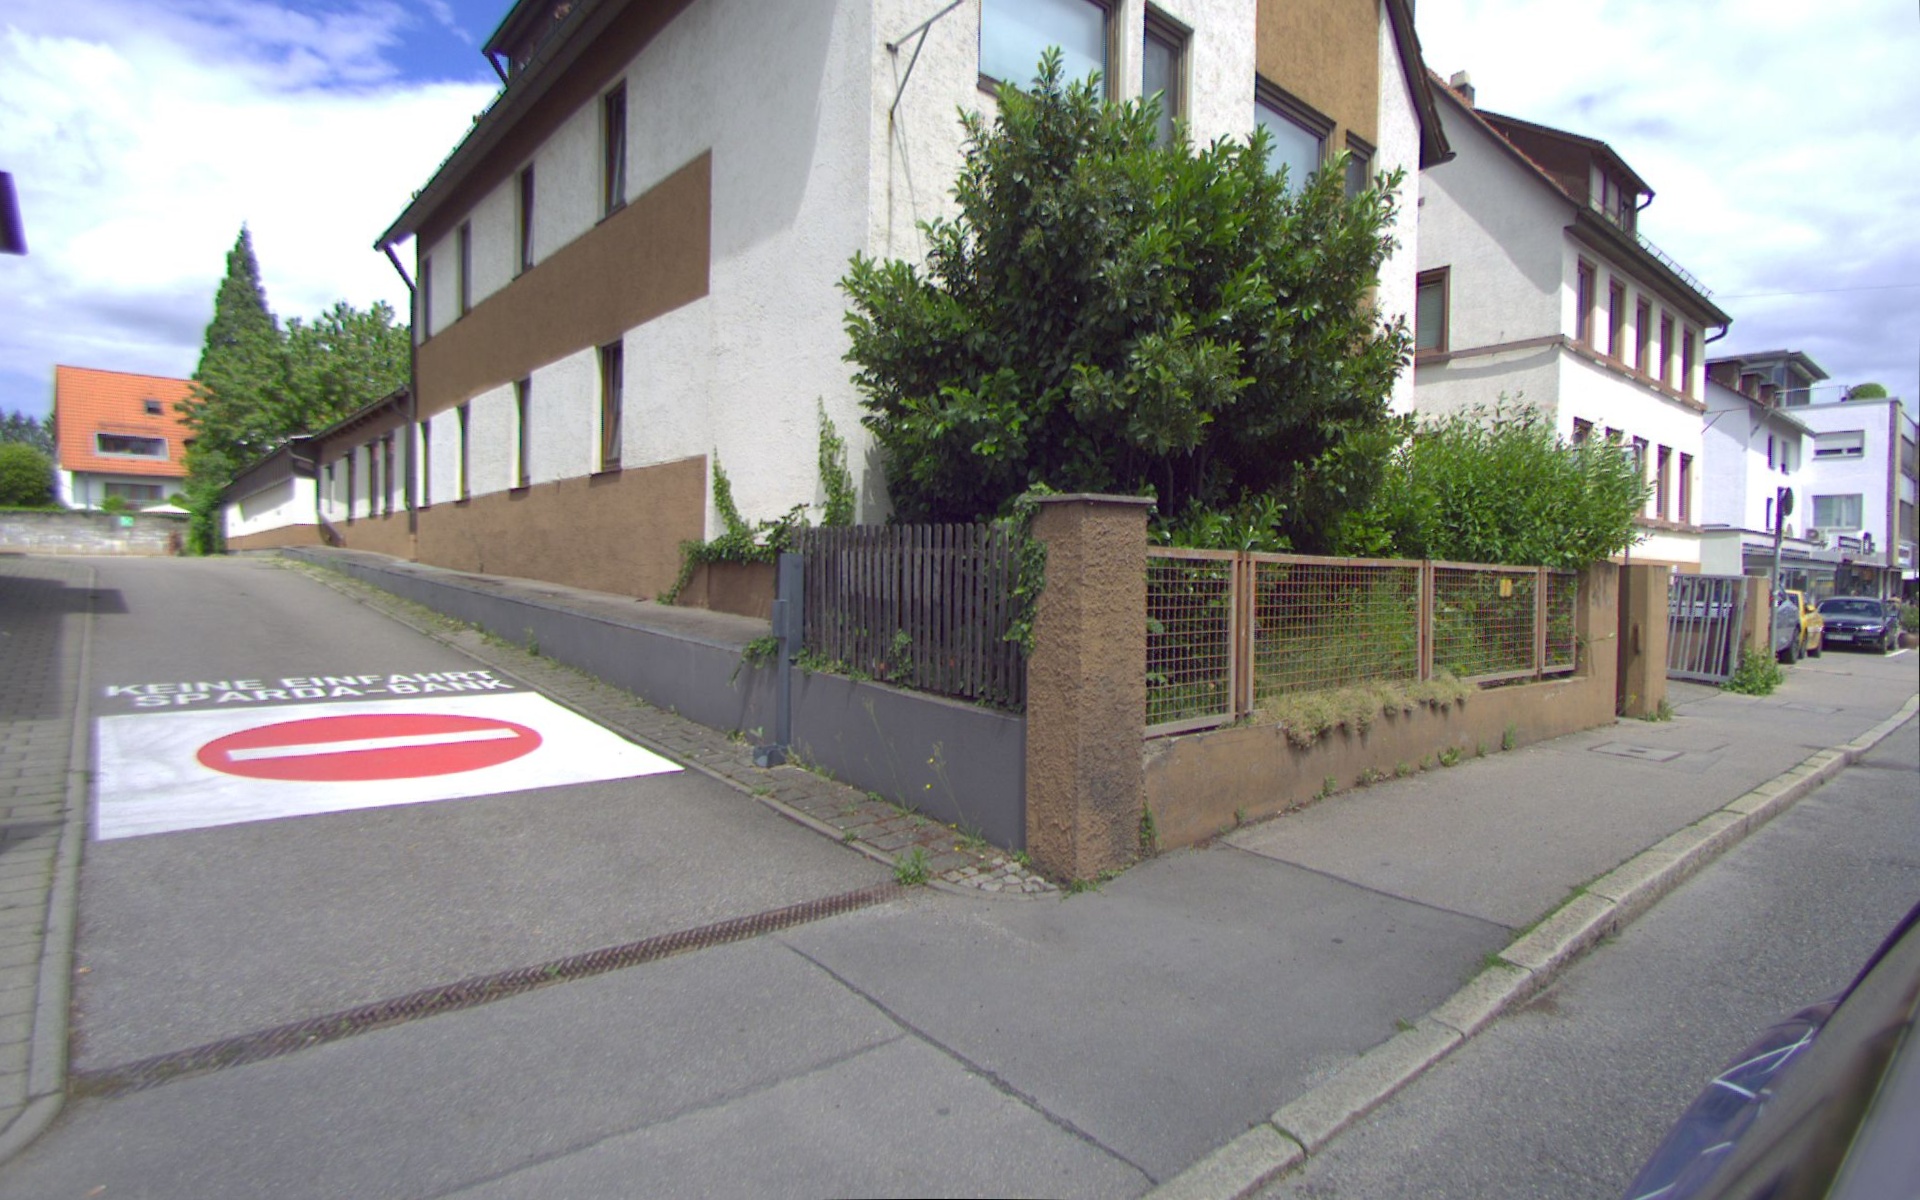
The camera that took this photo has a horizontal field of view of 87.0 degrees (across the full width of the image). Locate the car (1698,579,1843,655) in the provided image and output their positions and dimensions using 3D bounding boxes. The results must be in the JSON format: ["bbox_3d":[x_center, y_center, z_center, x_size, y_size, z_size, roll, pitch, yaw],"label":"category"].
[{"bbox_3d":[17.433,0.299,21.705,3.934,1.429,1.922,0,2,-44],"label":"car"}]

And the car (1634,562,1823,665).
[{"bbox_3d":[14.031,0.190,18.412,4.030,1.639,1.997,0,2,-42],"label":"car"}]

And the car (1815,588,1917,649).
[{"bbox_3d":[23.965,0.437,26.737,3.933,1.438,1.654,0,2,-43],"label":"car"}]
